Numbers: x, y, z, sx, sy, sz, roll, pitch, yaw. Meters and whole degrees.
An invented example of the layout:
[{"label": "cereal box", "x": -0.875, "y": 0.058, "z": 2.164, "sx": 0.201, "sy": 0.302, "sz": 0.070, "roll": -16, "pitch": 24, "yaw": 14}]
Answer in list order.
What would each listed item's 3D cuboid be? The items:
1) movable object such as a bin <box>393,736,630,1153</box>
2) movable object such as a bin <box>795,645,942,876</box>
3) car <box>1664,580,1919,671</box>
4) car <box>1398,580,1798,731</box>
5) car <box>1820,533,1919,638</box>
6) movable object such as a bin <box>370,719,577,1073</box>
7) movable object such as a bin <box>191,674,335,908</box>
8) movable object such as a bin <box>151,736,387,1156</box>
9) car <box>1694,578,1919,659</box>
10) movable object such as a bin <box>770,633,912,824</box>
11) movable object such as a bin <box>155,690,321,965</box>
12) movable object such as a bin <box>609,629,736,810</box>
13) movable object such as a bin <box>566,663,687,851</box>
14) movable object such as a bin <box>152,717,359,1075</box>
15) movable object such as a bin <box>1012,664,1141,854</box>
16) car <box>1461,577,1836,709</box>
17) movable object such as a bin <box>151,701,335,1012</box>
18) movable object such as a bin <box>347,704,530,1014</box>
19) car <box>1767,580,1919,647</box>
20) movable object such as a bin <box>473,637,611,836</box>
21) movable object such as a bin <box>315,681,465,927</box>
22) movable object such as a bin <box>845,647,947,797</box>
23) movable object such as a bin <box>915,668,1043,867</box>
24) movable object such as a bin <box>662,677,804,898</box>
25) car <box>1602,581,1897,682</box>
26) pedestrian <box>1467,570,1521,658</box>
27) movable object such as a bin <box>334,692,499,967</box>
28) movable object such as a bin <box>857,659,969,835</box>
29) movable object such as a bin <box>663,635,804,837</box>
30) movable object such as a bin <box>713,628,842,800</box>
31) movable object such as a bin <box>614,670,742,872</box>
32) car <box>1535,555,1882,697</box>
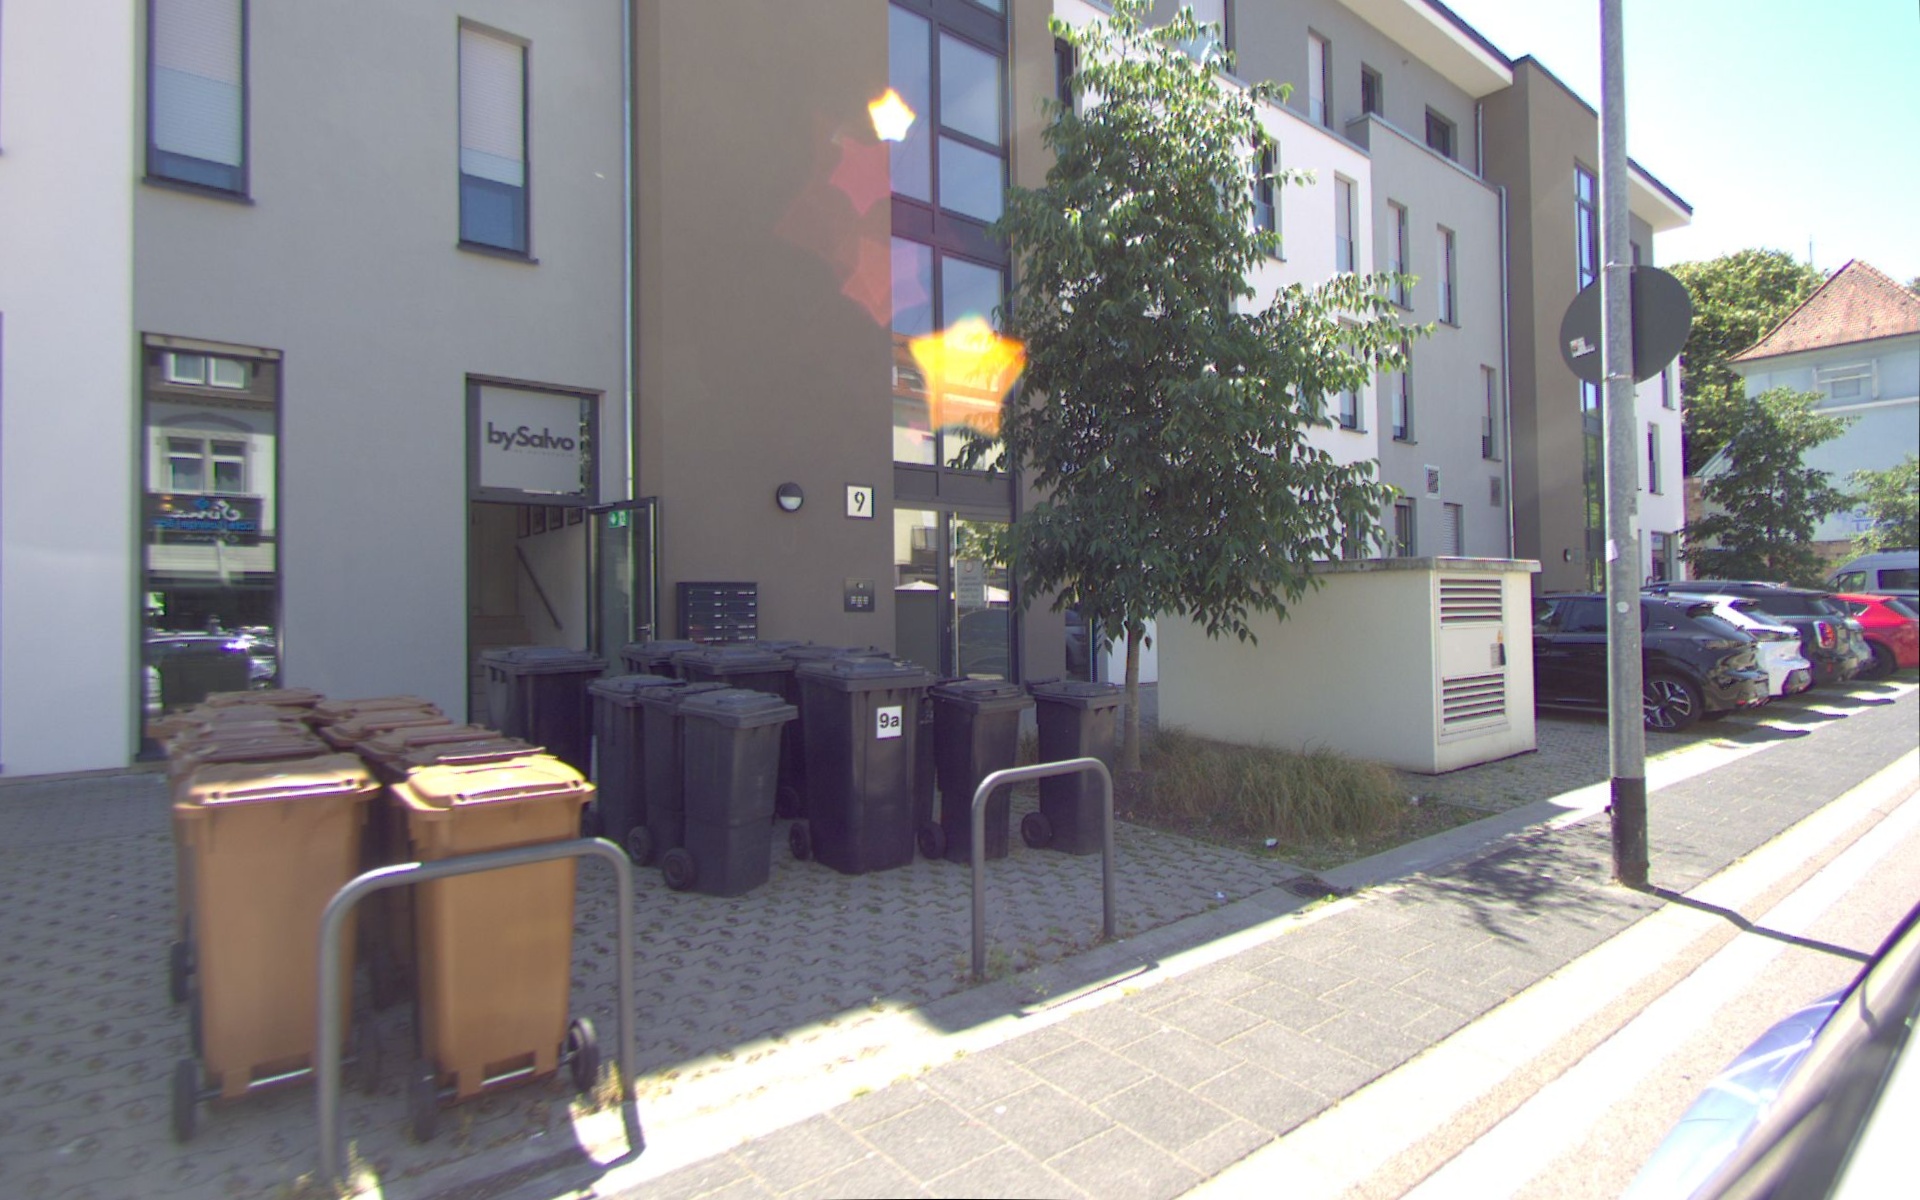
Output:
[{"label": "movable object such as a bin", "x": -1.281, "y": 0.910, "z": 2.887, "sx": 0.519, "sy": 0.942, "sz": 0.474, "roll": 0, "pitch": 0, "yaw": -39}, {"label": "movable object such as a bin", "x": -0.486, "y": 0.799, "z": 5.310, "sx": 0.550, "sy": 1.074, "sz": 0.570, "roll": 0, "pitch": 1, "yaw": -38}, {"label": "car", "x": 15.081, "y": 0.414, "z": 18.090, "sx": 1.623, "sy": 1.481, "sz": 3.815, "roll": 0, "pitch": 0, "yaw": -40}, {"label": "car", "x": 7.240, "y": 0.502, "z": 11.804, "sx": 1.507, "sy": 1.463, "sz": 3.667, "roll": -1, "pitch": 1, "yaw": -37}, {"label": "car", "x": 26.285, "y": -0.381, "z": 26.972, "sx": 1.817, "sy": 2.771, "sz": 4.866, "roll": 0, "pitch": 0, "yaw": -38}, {"label": "movable object such as a bin", "x": -1.589, "y": 0.904, "z": 3.300, "sx": 0.519, "sy": 0.942, "sz": 0.468, "roll": 0, "pitch": 0, "yaw": -39}, {"label": "movable object such as a bin", "x": -3.232, "y": 0.845, "z": 4.689, "sx": 0.519, "sy": 0.942, "sz": 0.474, "roll": 0, "pitch": 0, "yaw": -39}, {"label": "movable object such as a bin", "x": -1.961, "y": 0.908, "z": 2.870, "sx": 0.519, "sy": 0.942, "sz": 0.474, "roll": 0, "pitch": 0, "yaw": -39}, {"label": "car", "x": 18.312, "y": 0.361, "z": 21.338, "sx": 1.624, "sy": 1.570, "sz": 4.353, "roll": 0, "pitch": 0, "yaw": -42}, {"label": "movable object such as a bin", "x": -0.744, "y": 0.766, "z": 6.361, "sx": 0.645, "sy": 1.074, "sz": 0.616, "roll": 1, "pitch": 1, "yaw": 39}, {"label": "movable object such as a bin", "x": -2.914, "y": 0.871, "z": 4.082, "sx": 0.519, "sy": 0.942, "sz": 0.474, "roll": 0, "pitch": 0, "yaw": -39}, {"label": "movable object such as a bin", "x": -1.904, "y": 0.750, "z": 6.687, "sx": 0.614, "sy": 1.074, "sz": 0.648, "roll": 0, "pitch": 1, "yaw": -38}, {"label": "movable object such as a bin", "x": -1.849, "y": 0.843, "z": 5.618, "sx": 0.478, "sy": 0.935, "sz": 0.433, "roll": 1, "pitch": 1, "yaw": 28}, {"label": "movable object such as a bin", "x": -2.282, "y": 0.897, "z": 3.276, "sx": 0.519, "sy": 0.942, "sz": 0.474, "roll": 0, "pitch": 0, "yaw": -39}, {"label": "movable object such as a bin", "x": 0.657, "y": 0.863, "z": 5.714, "sx": 0.458, "sy": 0.942, "sz": 0.561, "roll": 0, "pitch": 1, "yaw": -45}, {"label": "car", "x": 9.009, "y": 0.492, "z": 13.483, "sx": 1.747, "sy": 1.501, "sz": 3.814, "roll": 0, "pitch": 0, "yaw": -41}, {"label": "movable object such as a bin", "x": -2.610, "y": 0.881, "z": 3.683, "sx": 0.519, "sy": 0.942, "sz": 0.474, "roll": 0, "pitch": 0, "yaw": -39}, {"label": "movable object such as a bin", "x": -1.900, "y": 0.891, "z": 3.685, "sx": 0.513, "sy": 0.942, "sz": 0.466, "roll": 0, "pitch": 0, "yaw": -39}, {"label": "car", "x": 22.355, "y": 0.304, "z": 24.319, "sx": 1.688, "sy": 1.549, "sz": 4.379, "roll": 0, "pitch": 0, "yaw": -39}, {"label": "movable object such as a bin", "x": -2.466, "y": 0.769, "z": 5.978, "sx": 0.567, "sy": 1.055, "sz": 0.553, "roll": 1, "pitch": 1, "yaw": 37}, {"label": "movable object such as a bin", "x": -2.526, "y": 0.862, "z": 4.482, "sx": 0.513, "sy": 0.942, "sz": 0.466, "roll": 0, "pitch": 0, "yaw": -39}, {"label": "movable object such as a bin", "x": -0.451, "y": 0.825, "z": 7.065, "sx": 0.458, "sy": 0.942, "sz": 0.561, "roll": 0, "pitch": 1, "yaw": -45}, {"label": "movable object such as a bin", "x": 0.102, "y": 0.864, "z": 5.426, "sx": 0.458, "sy": 0.942, "sz": 0.512, "roll": 0, "pitch": 1, "yaw": -45}, {"label": "movable object such as a bin", "x": -1.087, "y": 0.869, "z": 4.873, "sx": 0.512, "sy": 0.935, "sz": 0.433, "roll": 1, "pitch": 1, "yaw": 28}, {"label": "car", "x": 12.920, "y": 0.440, "z": 16.734, "sx": 1.588, "sy": 1.481, "sz": 3.615, "roll": 0, "pitch": 1, "yaw": -40}, {"label": "pedestrian", "x": 10.643, "y": 0.275, "z": 20.168, "sx": 0.989, "sy": 1.705, "sz": 0.576, "roll": 0, "pitch": -1, "yaw": -38}, {"label": "movable object such as a bin", "x": -2.193, "y": 0.877, "z": 4.078, "sx": 0.513, "sy": 0.942, "sz": 0.466, "roll": 0, "pitch": 0, "yaw": -39}, {"label": "movable object such as a bin", "x": -0.281, "y": 0.848, "z": 6.037, "sx": 0.460, "sy": 0.942, "sz": 0.484, "roll": 0, "pitch": 1, "yaw": -45}, {"label": "movable object such as a bin", "x": -1.364, "y": 0.772, "z": 6.073, "sx": 0.614, "sy": 1.074, "sz": 0.648, "roll": 0, "pitch": 1, "yaw": -38}, {"label": "movable object such as a bin", "x": -1.262, "y": 0.751, "z": 7.017, "sx": 0.645, "sy": 1.074, "sz": 0.616, "roll": 1, "pitch": 1, "yaw": 39}, {"label": "movable object such as a bin", "x": -1.466, "y": 0.862, "z": 5.274, "sx": 0.478, "sy": 0.935, "sz": 0.433, "roll": 1, "pitch": 1, "yaw": 28}, {"label": "car", "x": 10.905, "y": 0.332, "z": 14.941, "sx": 1.808, "sy": 1.809, "sz": 3.814, "roll": 0, "pitch": 0, "yaw": -41}]
